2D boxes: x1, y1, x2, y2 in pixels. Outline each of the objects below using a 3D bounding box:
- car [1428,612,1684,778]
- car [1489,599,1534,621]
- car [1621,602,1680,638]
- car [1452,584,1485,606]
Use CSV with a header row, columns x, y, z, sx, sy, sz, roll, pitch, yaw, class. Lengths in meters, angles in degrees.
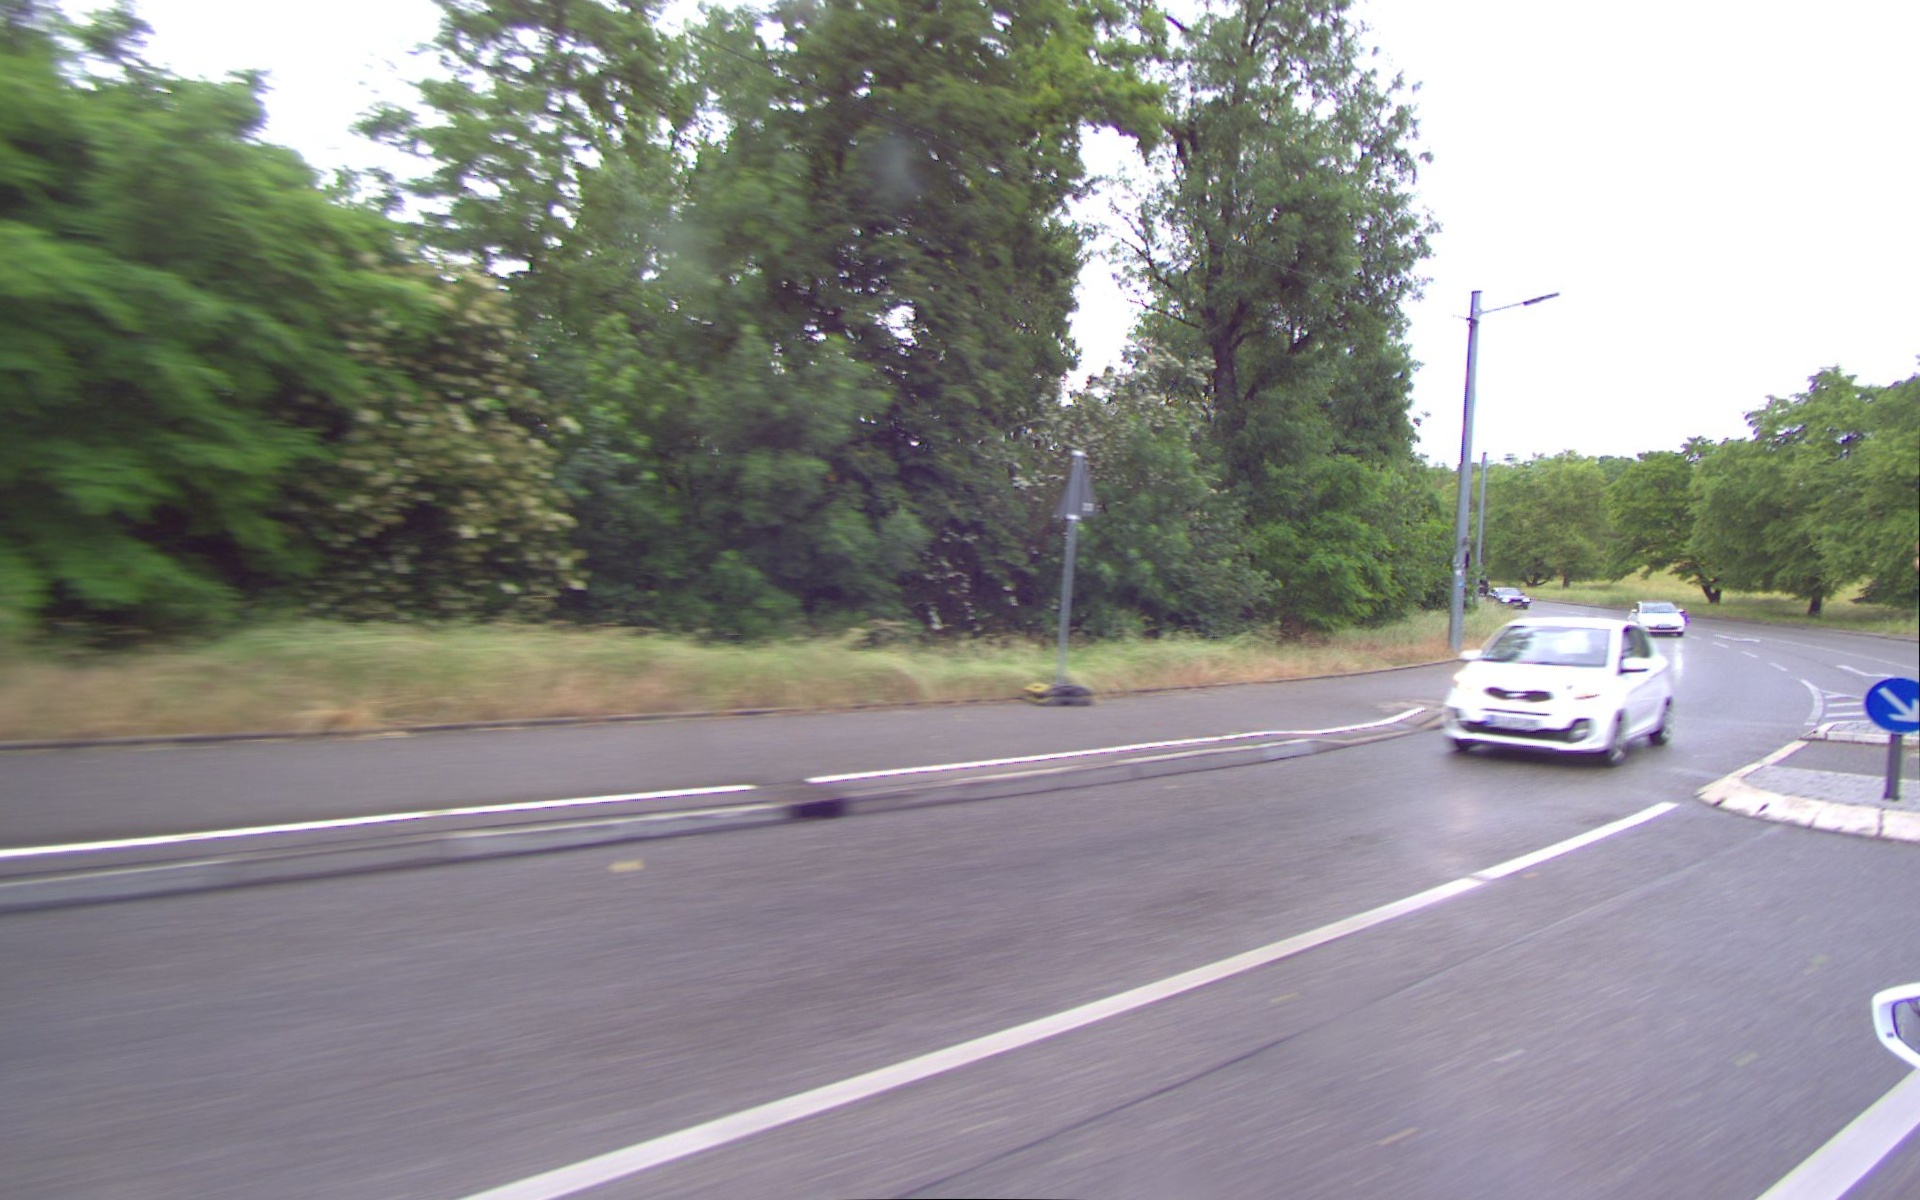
x,y,z,sx,sy,sz,roll,pitch,yaw,class
6.901,0.928,11.471,1.615,1.474,3.777,2,2,45,car
39.575,0.683,72.197,1.815,1.521,4.633,-1,0,16,car
30.185,0.877,43.993,1.542,1.497,3.664,1,-1,25,car
47.185,-0.480,93.226,1.712,1.740,4.001,3,3,13,car
